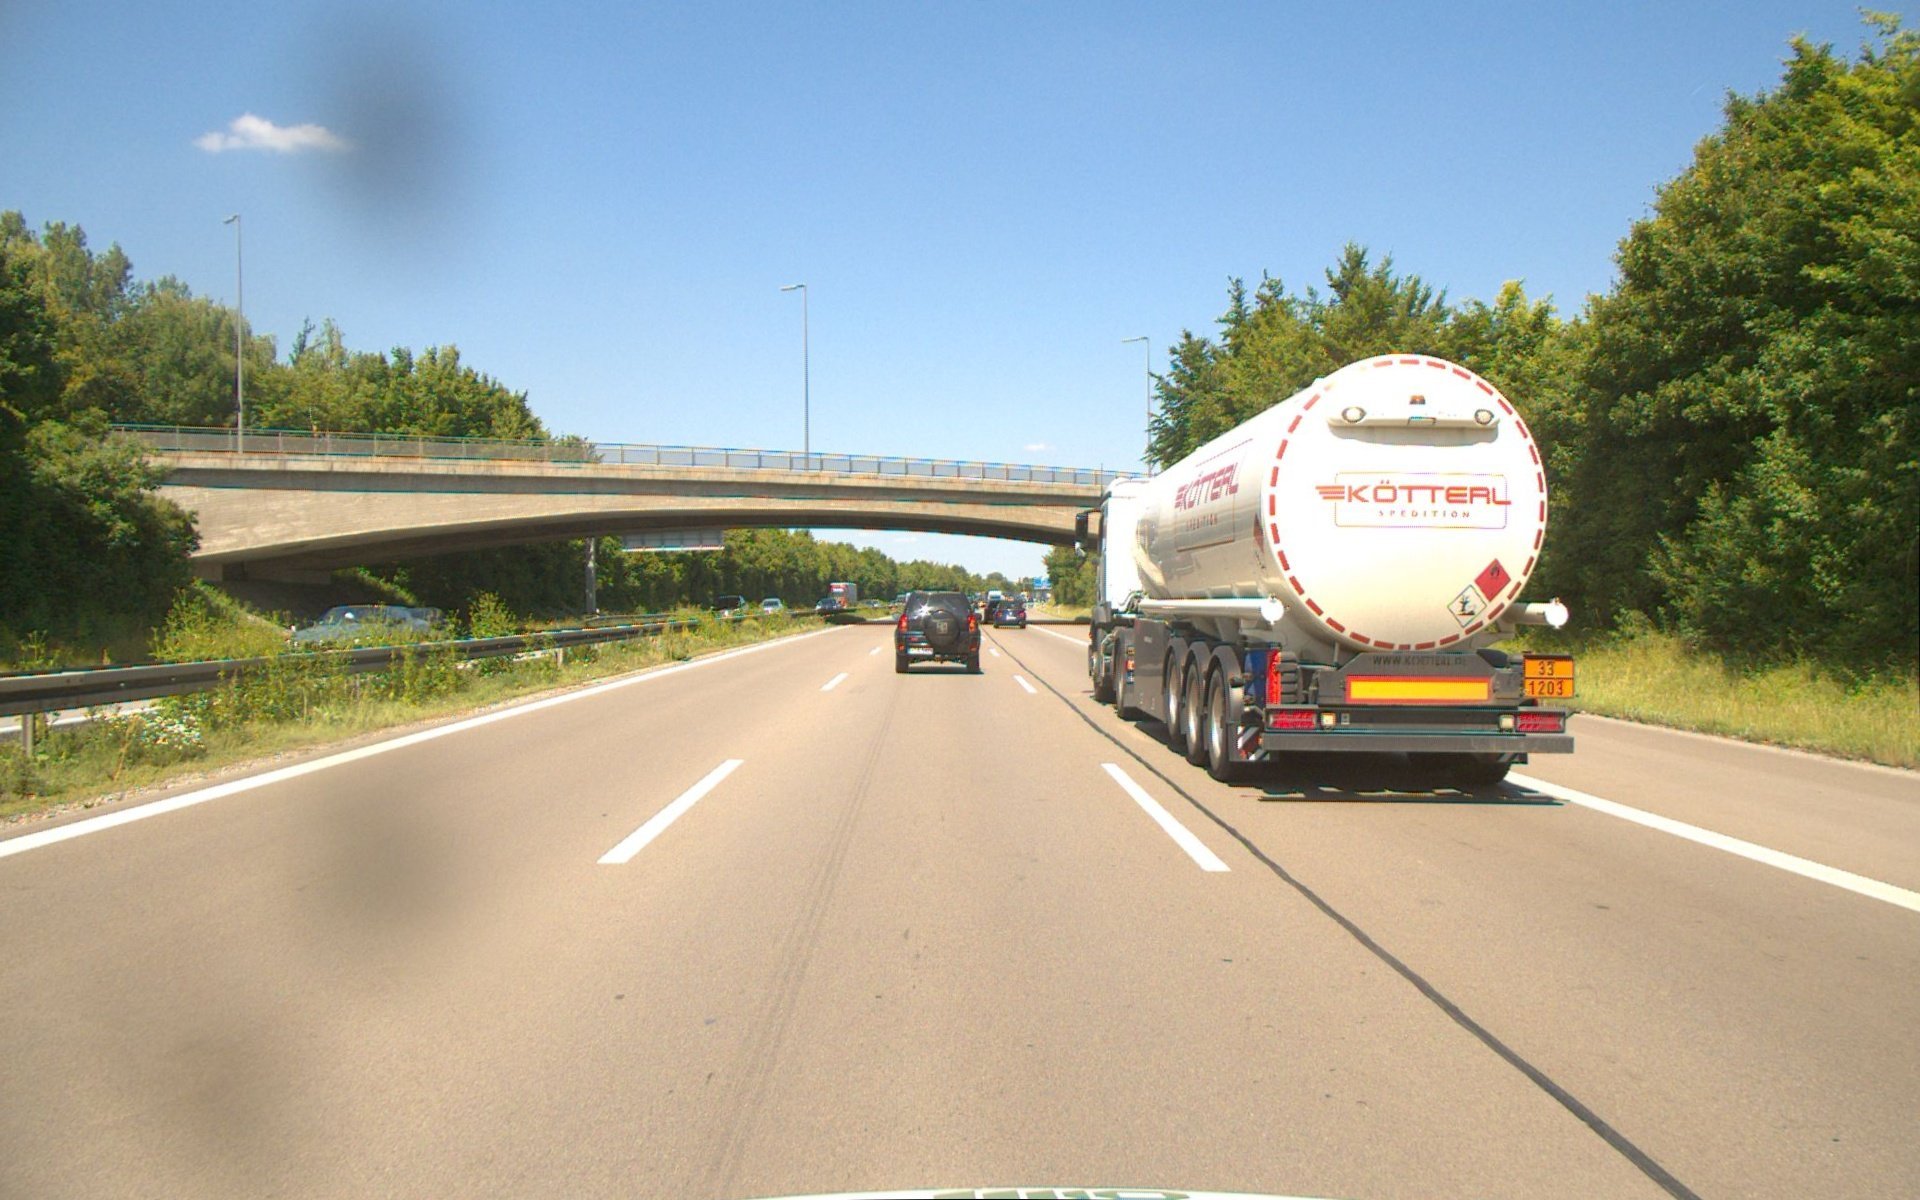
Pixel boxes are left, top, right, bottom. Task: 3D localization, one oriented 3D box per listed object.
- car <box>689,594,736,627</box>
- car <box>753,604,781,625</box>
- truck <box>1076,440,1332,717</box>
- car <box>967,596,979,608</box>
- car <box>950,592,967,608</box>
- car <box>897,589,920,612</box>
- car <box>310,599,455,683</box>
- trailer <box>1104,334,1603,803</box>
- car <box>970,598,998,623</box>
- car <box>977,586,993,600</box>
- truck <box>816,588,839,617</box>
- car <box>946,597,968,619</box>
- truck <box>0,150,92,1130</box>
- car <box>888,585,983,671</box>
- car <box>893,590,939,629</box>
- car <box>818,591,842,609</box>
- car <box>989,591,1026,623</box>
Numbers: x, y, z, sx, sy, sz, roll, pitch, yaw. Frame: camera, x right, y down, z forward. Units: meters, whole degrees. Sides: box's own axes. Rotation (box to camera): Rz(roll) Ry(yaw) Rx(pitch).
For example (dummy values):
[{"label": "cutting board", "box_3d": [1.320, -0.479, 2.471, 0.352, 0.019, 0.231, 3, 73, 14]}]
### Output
[{"label": "car", "box_3d": [-13.081, 0.515, 87.599, 1.760, 1.695, 4.129, -1, 0, 1]}, {"label": "car", "box_3d": [-15.432, 1.170, 132.492, 1.861, 1.669, 3.999, 0, -1, -1]}, {"label": "truck", "box_3d": [3.279, -0.262, 23.893, 2.584, 3.434, 6.485, 1, 0, -1]}, {"label": "car", "box_3d": [1.978, 0.234, 253.313, 1.775, 1.777, 3.999, -1, 0, -2]}, {"label": "car", "box_3d": [-0.172, -0.049, 190.841, 1.953, 1.780, 4.204, -1, 0, -1]}, {"label": "car", "box_3d": [-4.629, 0.068, 149.775, 1.953, 2.049, 4.949, -1, 0, -1]}, {"label": "car", "box_3d": [-12.527, 0.851, 36.136, 1.834, 1.722, 3.999, 0, 0, -1]}, {"label": "trailer", "box_3d": [3.408, -0.231, 17.839, 2.594, 3.449, 11.149, 1, 0, -1]}, {"label": "car", "box_3d": [1.559, 0.724, 109.833, 1.805, 1.640, 3.999, 0, -1, 0]}, {"label": "car", "box_3d": [3.277, -0.939, 217.148, 1.776, 1.777, 3.998, -1, 0, -3]}, {"label": "truck", "box_3d": [-19.609, 0.428, 245.497, 2.728, 4.131, 6.210, -2, 0, 0]}, {"label": "car", "box_3d": [-0.299, 0.743, 155.938, 1.953, 2.049, 4.767, -1, 0, -1]}, {"label": "truck", "box_3d": [-3.495, 0.104, 1.421, 1.953, 2.587, 6.691, 1, 0, 0]}, {"label": "car", "box_3d": [-0.563, 0.556, 34.748, 1.868, 1.694, 3.998, 0, 0, -2]}, {"label": "car", "box_3d": [-2.036, 0.426, 77.581, 1.953, 1.736, 4.336, -1, 0, 0]}, {"label": "car", "box_3d": [-11.801, -0.010, 150.222, 1.822, 1.554, 4.750, -1, 0, 0]}, {"label": "car", "box_3d": [2.572, 0.418, 90.685, 1.952, 1.713, 4.000, 0, -1, 0]}]
